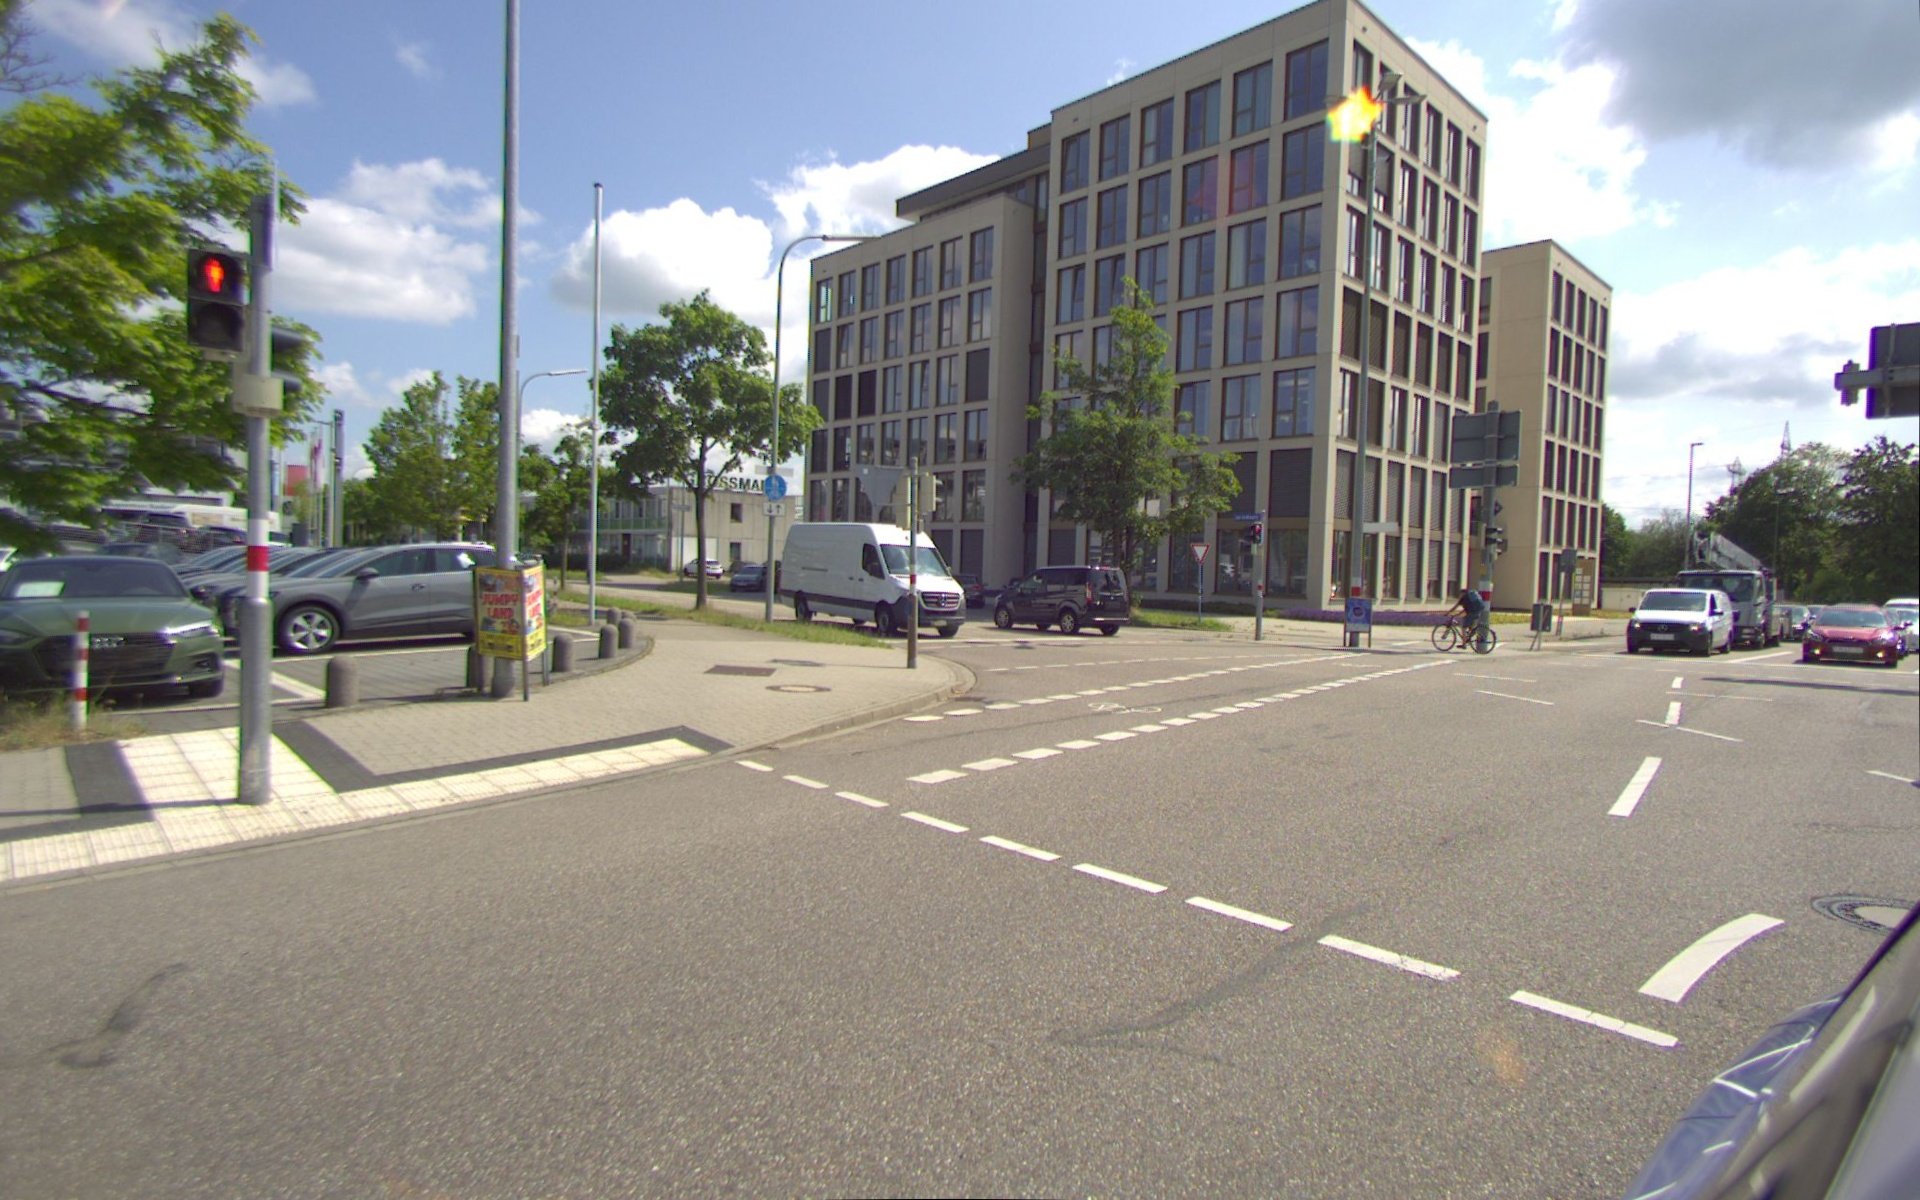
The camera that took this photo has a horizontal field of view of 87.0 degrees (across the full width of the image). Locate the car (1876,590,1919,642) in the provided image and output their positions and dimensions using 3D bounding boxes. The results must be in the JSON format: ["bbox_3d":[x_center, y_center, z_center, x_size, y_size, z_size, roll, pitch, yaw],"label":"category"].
[{"bbox_3d":[31.917,0.568,33.593,4.138,1.647,1.825,2,0,-42],"label":"car"}]

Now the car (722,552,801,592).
[{"bbox_3d":[-11.186,-1.571,57.300,1.994,2.039,3.937,2,0,43],"label":"car"}]

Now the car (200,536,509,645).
[{"bbox_3d":[-10.869,-0.272,18.382,4.513,1.698,1.904,-4,4,-42],"label":"car"}]

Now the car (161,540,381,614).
[{"bbox_3d":[-17.936,-0.550,26.472,4.510,1.699,1.904,2,0,-42],"label":"car"}]

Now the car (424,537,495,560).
[{"bbox_3d":[-52.758,-5.424,106.703,6.249,2.039,2.569,2,0,-41],"label":"car"}]

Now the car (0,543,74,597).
[{"bbox_3d":[-31.325,-0.991,32.899,1.867,1.699,4.599,2,0,-15],"label":"car"}]

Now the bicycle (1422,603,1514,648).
[{"bbox_3d":[12.667,0.634,25.289,0.637,1.024,1.978,2,0,-35],"label":"bicycle"}]

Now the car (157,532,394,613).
[{"bbox_3d":[-16.438,-0.615,24.440,4.510,1.699,1.904,2,0,-42],"label":"car"}]

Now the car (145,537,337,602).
[{"bbox_3d":[-21.617,-0.865,30.539,4.510,1.699,1.904,2,0,-42],"label":"car"}]

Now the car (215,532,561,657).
[{"bbox_3d":[-9.085,-0.198,16.320,4.513,1.698,1.904,-4,4,-42],"label":"car"}]

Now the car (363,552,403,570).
[{"bbox_3d":[-72.397,-4.922,127.049,1.994,2.039,3.937,2,0,43],"label":"car"}]

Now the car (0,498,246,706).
[{"bbox_3d":[-8.887,-0.026,10.429,1.875,1.699,4.581,2,0,-43],"label":"car"}]

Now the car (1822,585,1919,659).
[{"bbox_3d":[22.704,0.537,25.050,1.822,1.647,4.144,2,0,44],"label":"car"}]

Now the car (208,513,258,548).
[{"bbox_3d":[-36.228,-3.418,50.385,1.539,1.571,3.594,2,0,-43],"label":"car"}]

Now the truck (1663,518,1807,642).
[{"bbox_3d":[26.120,-0.501,33.891,2.667,3.600,9.625,2,0,44],"label":"truck"}]

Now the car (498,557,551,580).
[{"bbox_3d":[-37.553,-2.661,87.250,3.920,1.772,2.002,2,0,-31],"label":"car"}]

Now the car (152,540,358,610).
[{"bbox_3d":[-19.693,-0.656,28.371,4.510,1.699,1.904,2,0,-42],"label":"car"}]

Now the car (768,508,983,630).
[{"bbox_3d":[-2.359,-0.749,25.560,2.099,2.640,6.863,2,0,-36],"label":"car"}]

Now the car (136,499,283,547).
[{"bbox_3d":[-41.276,-4.188,55.805,6.300,2.129,1.761,2,0,-44],"label":"car"}]

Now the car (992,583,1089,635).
[{"bbox_3d":[3.396,0.381,42.356,1.994,2.039,3.937,2,0,43],"label":"car"}]

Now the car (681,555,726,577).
[{"bbox_3d":[-21.634,-2.859,85.402,1.966,1.705,3.991,2,0,-43],"label":"car"}]

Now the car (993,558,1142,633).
[{"bbox_3d":[2.900,-0.168,28.066,1.796,1.928,3.998,2,1,-38],"label":"car"}]

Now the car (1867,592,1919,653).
[{"bbox_3d":[27.700,0.666,29.315,4.142,1.647,1.824,2,0,-44],"label":"car"}]

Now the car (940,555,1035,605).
[{"bbox_3d":[1.245,-0.861,44.548,1.994,2.039,3.937,2,0,43],"label":"car"}]

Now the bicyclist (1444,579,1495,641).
[{"bbox_3d":[12.709,0.237,25.251,0.626,1.496,0.916,2,0,-36],"label":"bicyclist"}]

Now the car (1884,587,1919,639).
[{"bbox_3d":[36.300,0.526,38.013,4.366,1.861,1.826,2,0,-40],"label":"car"}]

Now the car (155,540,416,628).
[{"bbox_3d":[-14.677,-0.298,22.168,4.510,1.699,1.904,2,0,-42],"label":"car"}]

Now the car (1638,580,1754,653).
[{"bbox_3d":[20.914,0.471,28.668,1.994,1.861,4.912,2,0,44],"label":"car"}]

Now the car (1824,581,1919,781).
[{"bbox_3d":[9.767,0.701,7.443,5.108,1.496,1.813,2,1,2],"label":"car"}]

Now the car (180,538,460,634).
[{"bbox_3d":[-12.809,-0.229,20.432,4.510,1.699,1.904,2,0,-42],"label":"car"}]

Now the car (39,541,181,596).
[{"bbox_3d":[-28.914,-1.028,34.614,1.867,1.699,4.599,2,0,-15],"label":"car"}]
